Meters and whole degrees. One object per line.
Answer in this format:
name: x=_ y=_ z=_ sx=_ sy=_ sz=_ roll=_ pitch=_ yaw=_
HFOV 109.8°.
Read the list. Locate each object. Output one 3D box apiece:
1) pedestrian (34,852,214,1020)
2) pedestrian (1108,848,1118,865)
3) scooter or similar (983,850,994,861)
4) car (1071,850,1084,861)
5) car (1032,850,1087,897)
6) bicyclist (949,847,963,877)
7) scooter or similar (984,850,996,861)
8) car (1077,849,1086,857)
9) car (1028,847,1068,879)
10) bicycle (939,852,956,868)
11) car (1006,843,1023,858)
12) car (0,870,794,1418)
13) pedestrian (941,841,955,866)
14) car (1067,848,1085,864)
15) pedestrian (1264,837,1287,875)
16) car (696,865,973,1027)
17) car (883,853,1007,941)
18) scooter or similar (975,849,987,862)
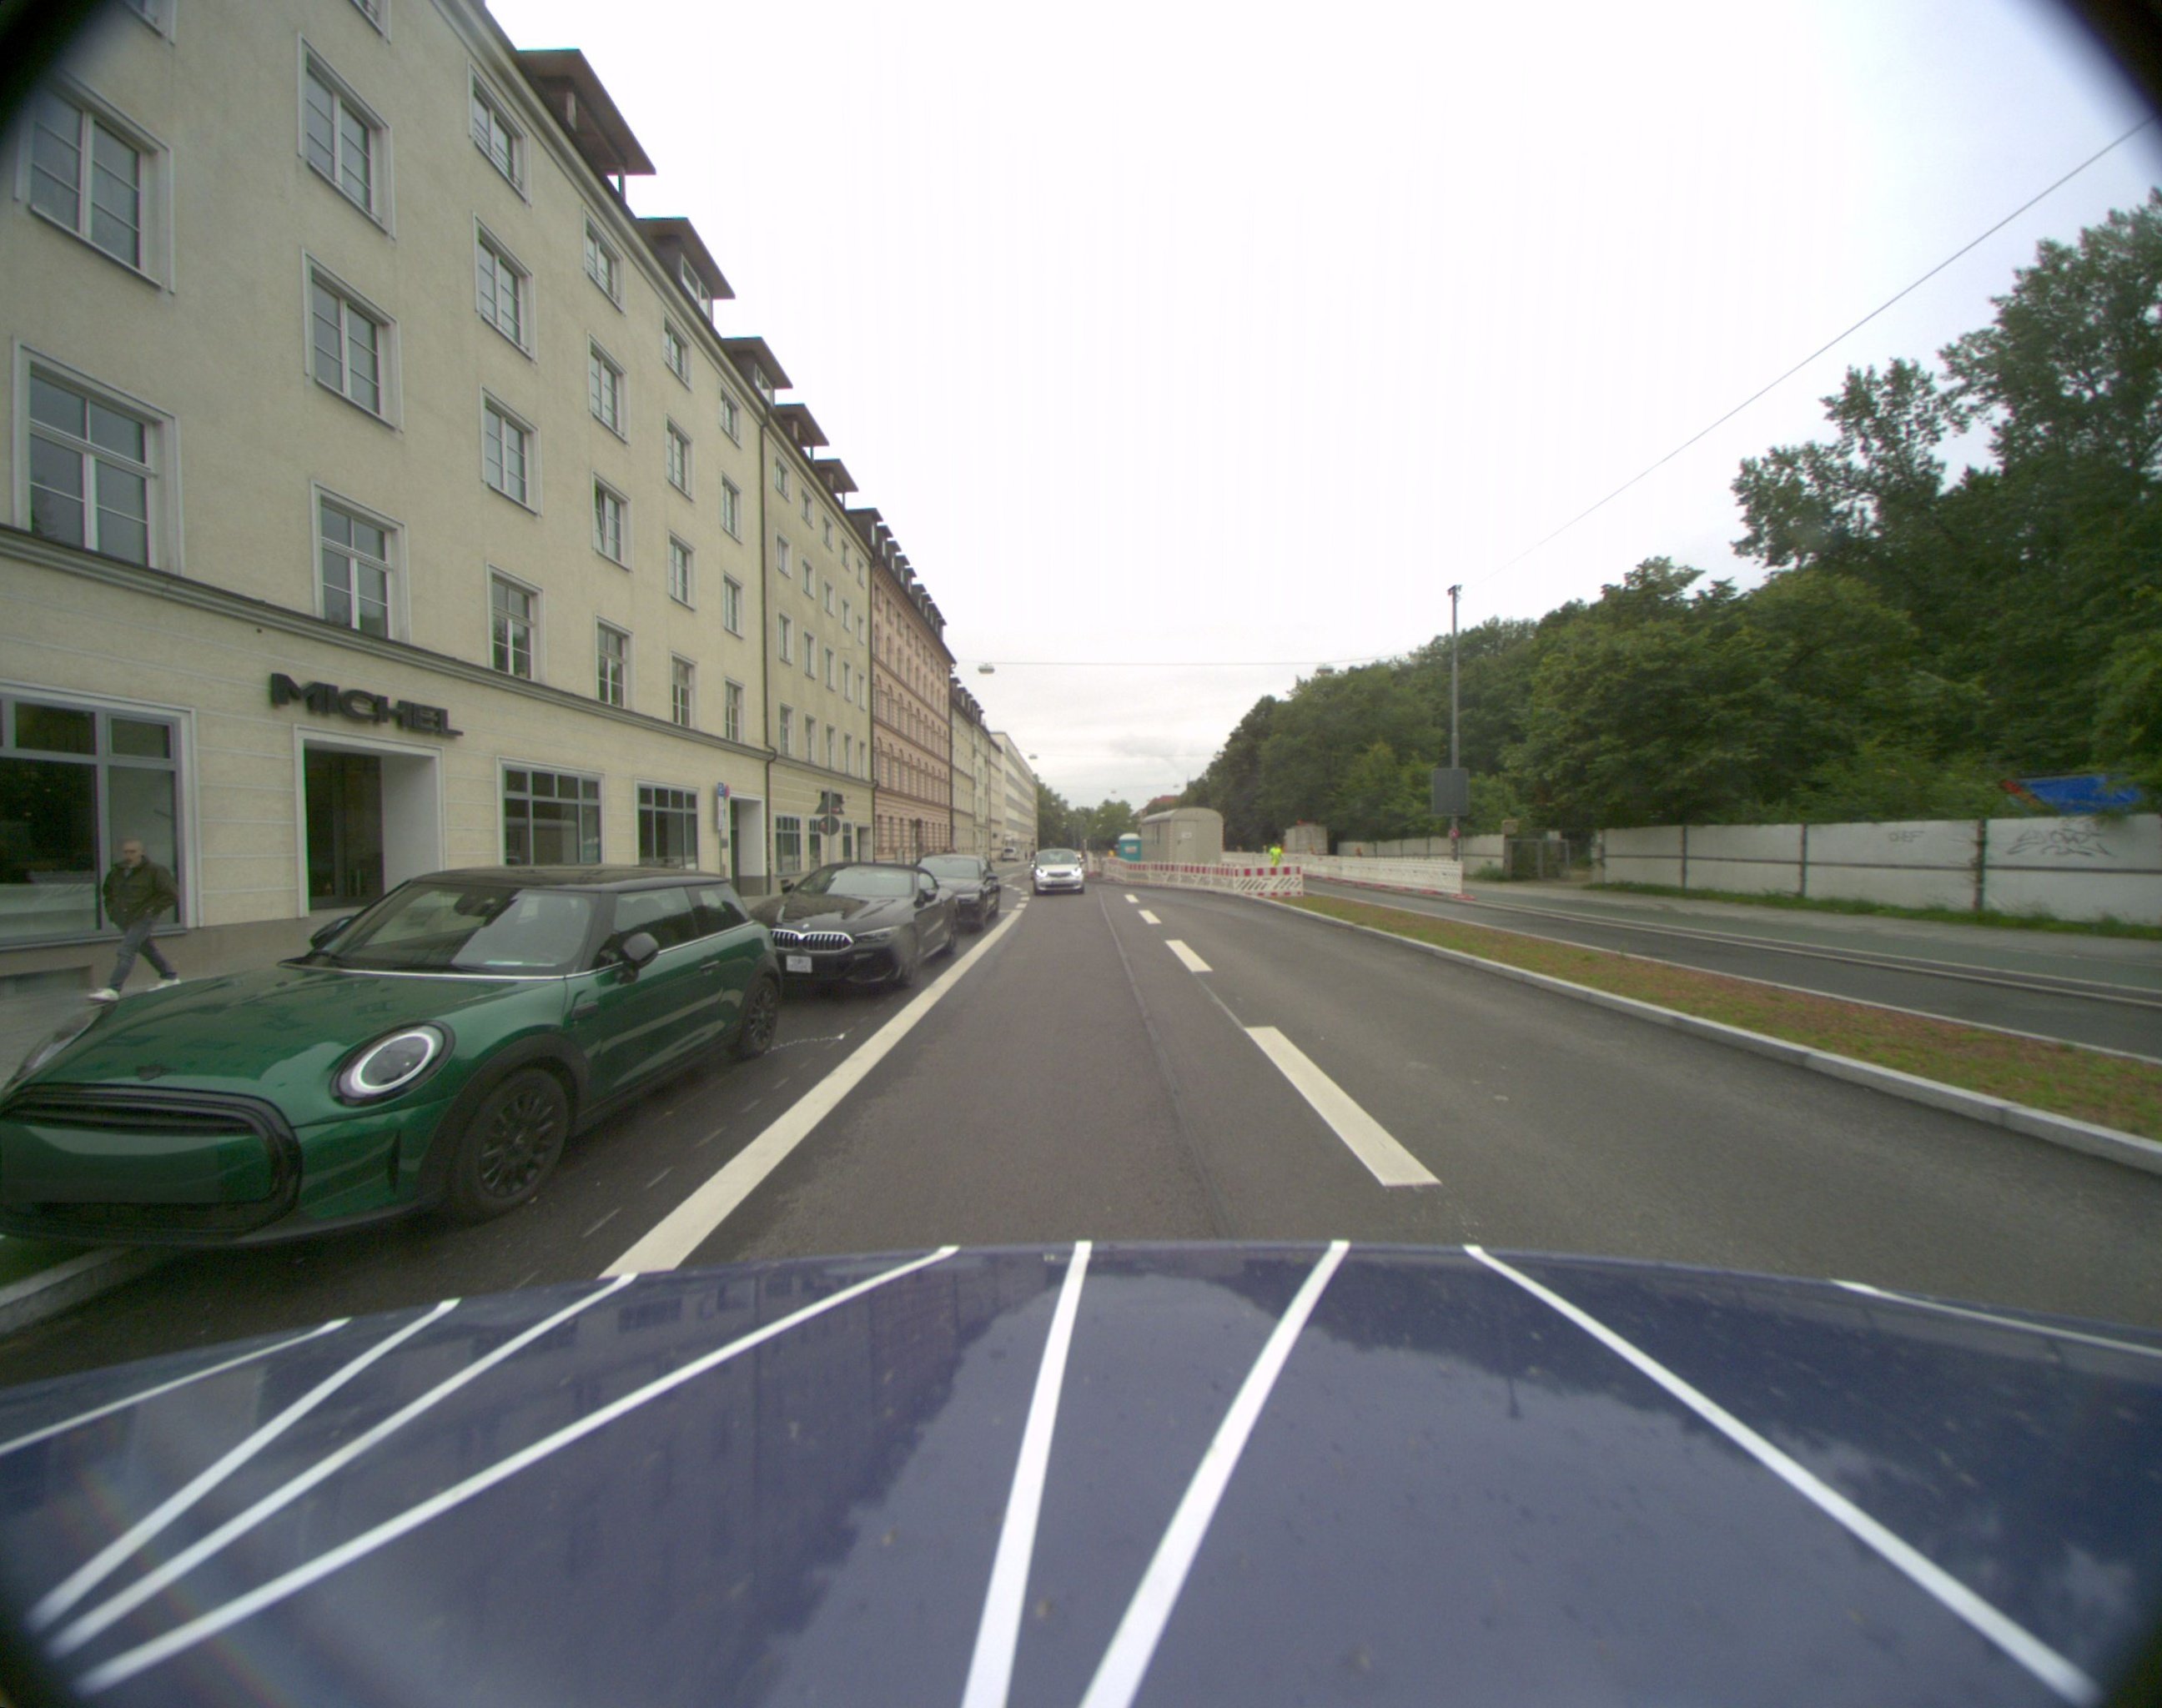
pedestrian: x=-10.111 y=0.828 z=8.068 sx=0.780 sy=1.679 sz=0.861 roll=0 pitch=1 yaw=1
pedestrian: x=3.466 y=0.274 z=82.044 sx=0.860 sy=1.826 sz=0.874 roll=-1 pitch=1 yaw=-7
scooter or similar: x=-9.792 y=0.140 z=80.822 sx=1.079 sy=1.185 sz=0.436 roll=-1 pitch=1 yaw=-39
car: x=-0.475 y=0.175 z=110.889 sx=1.759 sy=1.461 sz=3.999 roll=-2 pitch=1 yaw=-1
car: x=-0.788 y=0.621 z=27.011 sx=1.759 sy=1.461 sz=3.998 roll=-2 pitch=1 yaw=-3
bicyclist: x=-6.113 y=0.377 z=37.088 sx=0.632 sy=1.459 sz=0.652 roll=-1 pitch=1 yaw=-6
scooter or similar: x=-9.532 y=0.139 z=79.485 sx=1.078 sy=1.185 sz=0.453 roll=-1 pitch=1 yaw=-29
car: x=0.032 y=-0.270 z=155.263 sx=1.759 sy=1.461 sz=3.999 roll=-2 pitch=1 yaw=-1
car: x=-1.695 y=0.420 z=40.536 sx=1.813 sy=1.472 sz=4.461 roll=-2 pitch=1 yaw=1
bicycle: x=-9.826 y=0.437 z=56.107 sx=0.556 sy=1.170 sz=1.727 roll=0 pitch=1 yaw=15
car: x=-8.523 y=-0.417 z=97.112 sx=1.766 sy=1.821 sz=3.999 roll=-1 pitch=1 yaw=0
car: x=-3.227 y=0.931 z=4.199 sx=1.679 sy=1.512 sz=3.829 roll=-2 pitch=1 yaw=2
pedestrian: x=-9.243 y=-0.021 z=53.004 sx=0.795 sy=1.735 sz=0.833 roll=-1 pitch=1 yaw=1
car: x=-0.497 y=0.173 z=76.794 sx=1.759 sy=1.461 sz=3.999 roll=-2 pitch=1 yaw=-1
pedestrian: x=9.978 y=0.114 z=39.006 sx=0.890 sy=1.930 sz=0.875 roll=0 pitch=1 yaw=-2
car: x=-2.737 y=0.928 z=9.741 sx=1.830 sy=1.399 sz=4.719 roll=-2 pitch=1 yaw=2
car: x=-2.687 y=0.786 z=16.033 sx=1.813 sy=1.472 sz=4.461 roll=3 pitch=1 yaw=-1
scooter or similar: x=-9.783 y=0.162 z=74.632 sx=0.552 sy=1.238 sz=1.079 roll=0 pitch=1 yaw=35
